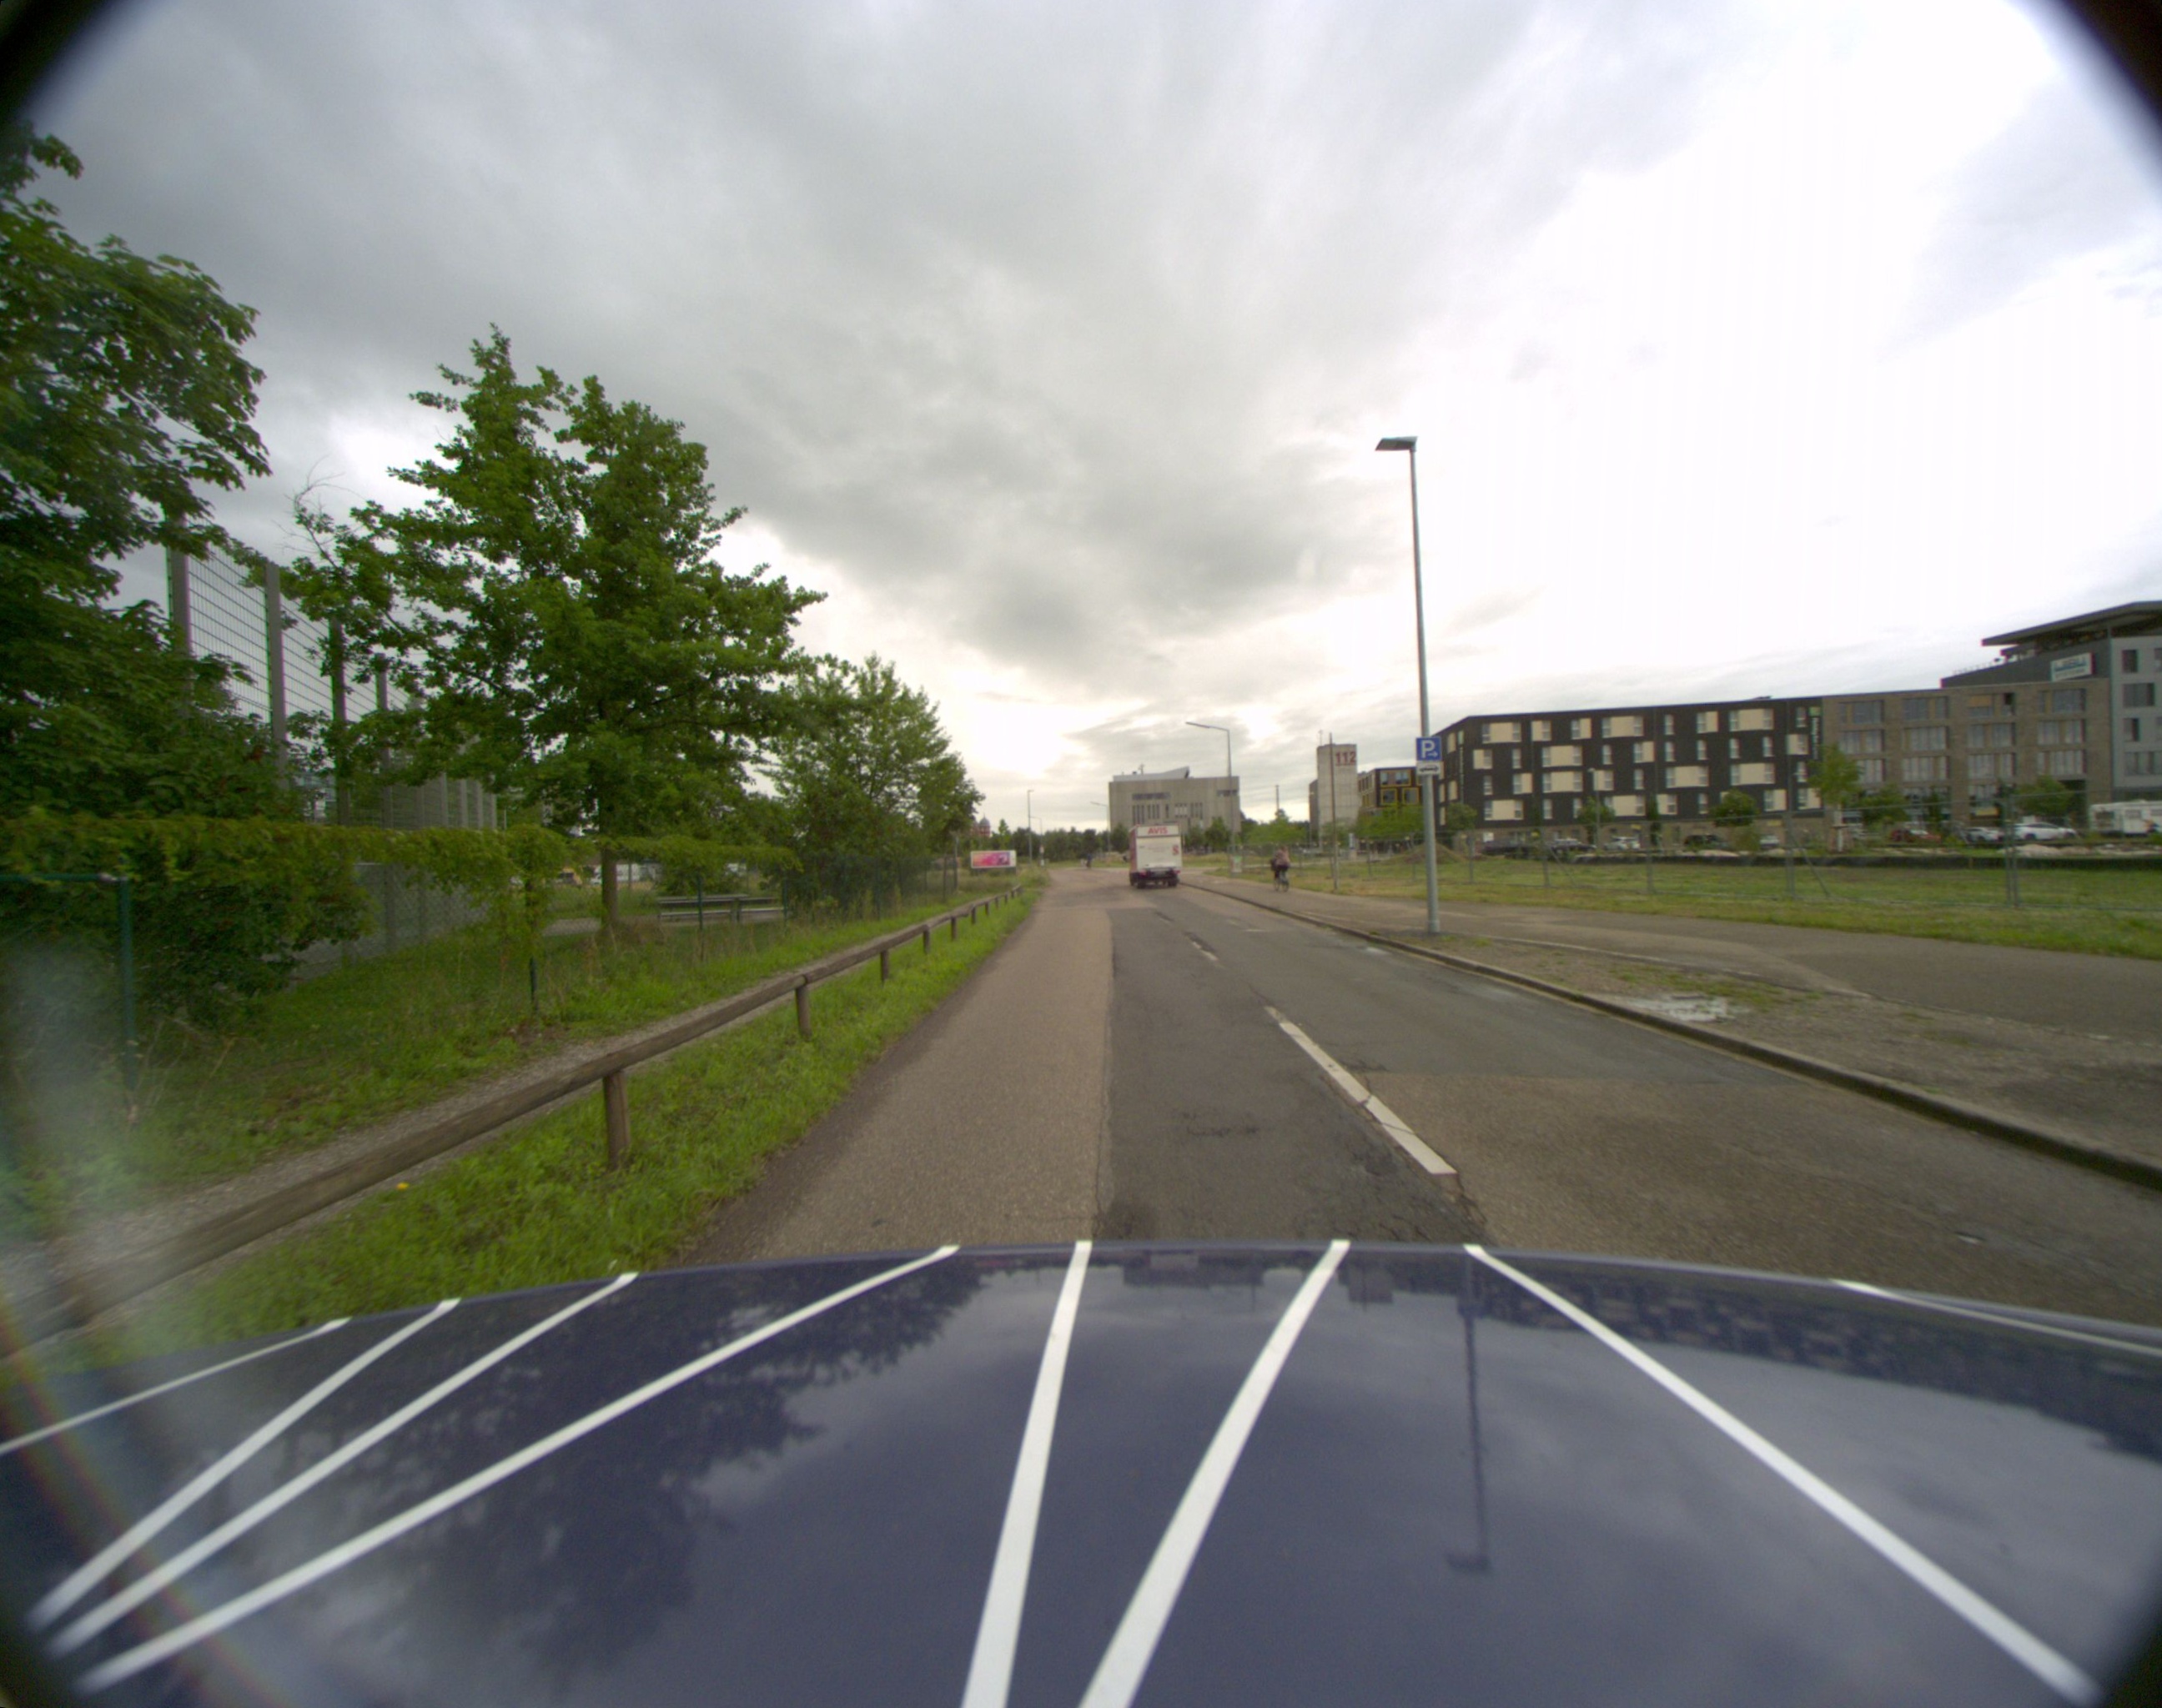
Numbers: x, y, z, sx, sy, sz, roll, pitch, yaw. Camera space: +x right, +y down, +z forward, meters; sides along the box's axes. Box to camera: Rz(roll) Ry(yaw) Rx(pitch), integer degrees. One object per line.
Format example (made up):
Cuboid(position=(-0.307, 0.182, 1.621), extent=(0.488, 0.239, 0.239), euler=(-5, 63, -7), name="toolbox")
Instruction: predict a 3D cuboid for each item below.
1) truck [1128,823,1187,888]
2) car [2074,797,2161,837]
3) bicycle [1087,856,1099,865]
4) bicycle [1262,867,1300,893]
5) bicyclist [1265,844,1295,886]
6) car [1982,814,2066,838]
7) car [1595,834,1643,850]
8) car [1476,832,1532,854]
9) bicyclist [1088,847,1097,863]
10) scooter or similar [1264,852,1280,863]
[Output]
Cuboid(position=(3.826, 0.049, 39.459), extent=(2.346, 3.044, 7.496), euler=(0, 0, 0), name="truck")
Cuboid(position=(85.926, -3.012, 61.513), extent=(6.566, 2.939, 2.716), euler=(-3, 0, 10), name="car")
Cuboid(position=(1.527, 0.850, 97.699), extent=(0.887, 1.046, 2.466), euler=(-3, 0, -16), name="bicycle")
Cuboid(position=(7.492, 0.959, 28.583), extent=(0.805, 0.902, 2.232), euler=(-2, 0, 0), name="bicycle")
Cuboid(position=(7.469, 0.414, 28.603), extent=(0.784, 1.517, 1.094), euler=(-2, 0, 0), name="bicyclist")
Cuboid(position=(77.883, -2.320, 62.797), extent=(3.994, 1.736, 2.001), euler=(-3, 0, 10), name="car")
Cuboid(position=(54.932, -1.207, 77.630), extent=(1.998, 1.508, 4.154), euler=(-2, 0, 2), name="car")
Cuboid(position=(38.496, -0.993, 69.302), extent=(3.994, 1.812, 2.002), euler=(-3, 0, 10), name="car")
Cuboid(position=(1.488, 0.150, 97.699), extent=(0.865, 2.002, 1.176), euler=(-3, 0, -16), name="bicyclist")
Cuboid(position=(20.486, 0.365, 81.564), extent=(1.468, 1.161, 0.570), euler=(-4, 1, -16), name="scooter or similar")
